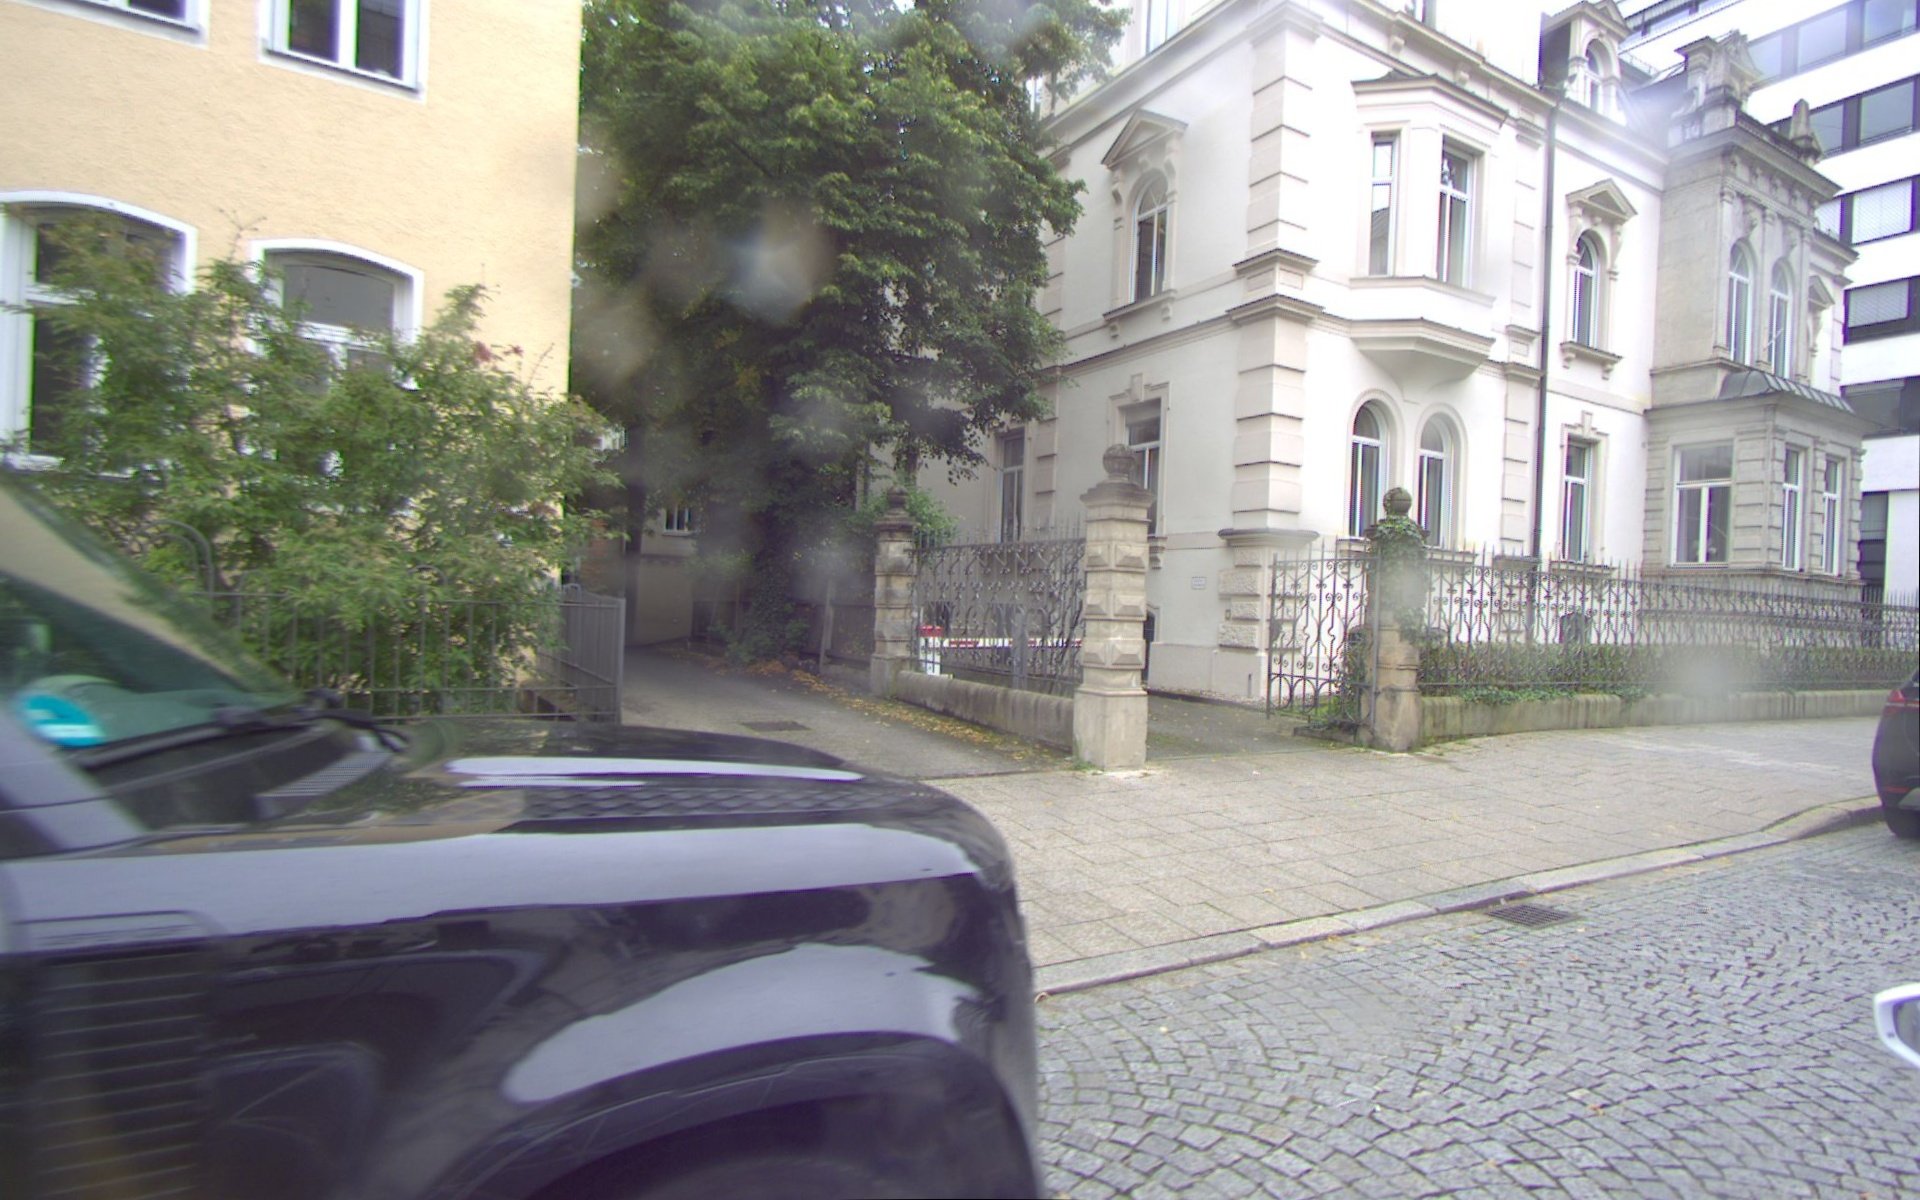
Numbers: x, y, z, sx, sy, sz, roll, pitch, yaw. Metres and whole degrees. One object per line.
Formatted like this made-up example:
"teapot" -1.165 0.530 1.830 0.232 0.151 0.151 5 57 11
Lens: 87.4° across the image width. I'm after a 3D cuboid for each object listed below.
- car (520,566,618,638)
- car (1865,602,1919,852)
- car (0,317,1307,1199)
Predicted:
"car" -10.400 0.018 26.566 1.975 1.687 3.971 3 0 -27
"car" 8.903 1.007 7.661 4.342 1.740 1.764 3 0 -32
"car" -1.959 0.587 1.365 4.666 1.761 1.973 2 1 -30
